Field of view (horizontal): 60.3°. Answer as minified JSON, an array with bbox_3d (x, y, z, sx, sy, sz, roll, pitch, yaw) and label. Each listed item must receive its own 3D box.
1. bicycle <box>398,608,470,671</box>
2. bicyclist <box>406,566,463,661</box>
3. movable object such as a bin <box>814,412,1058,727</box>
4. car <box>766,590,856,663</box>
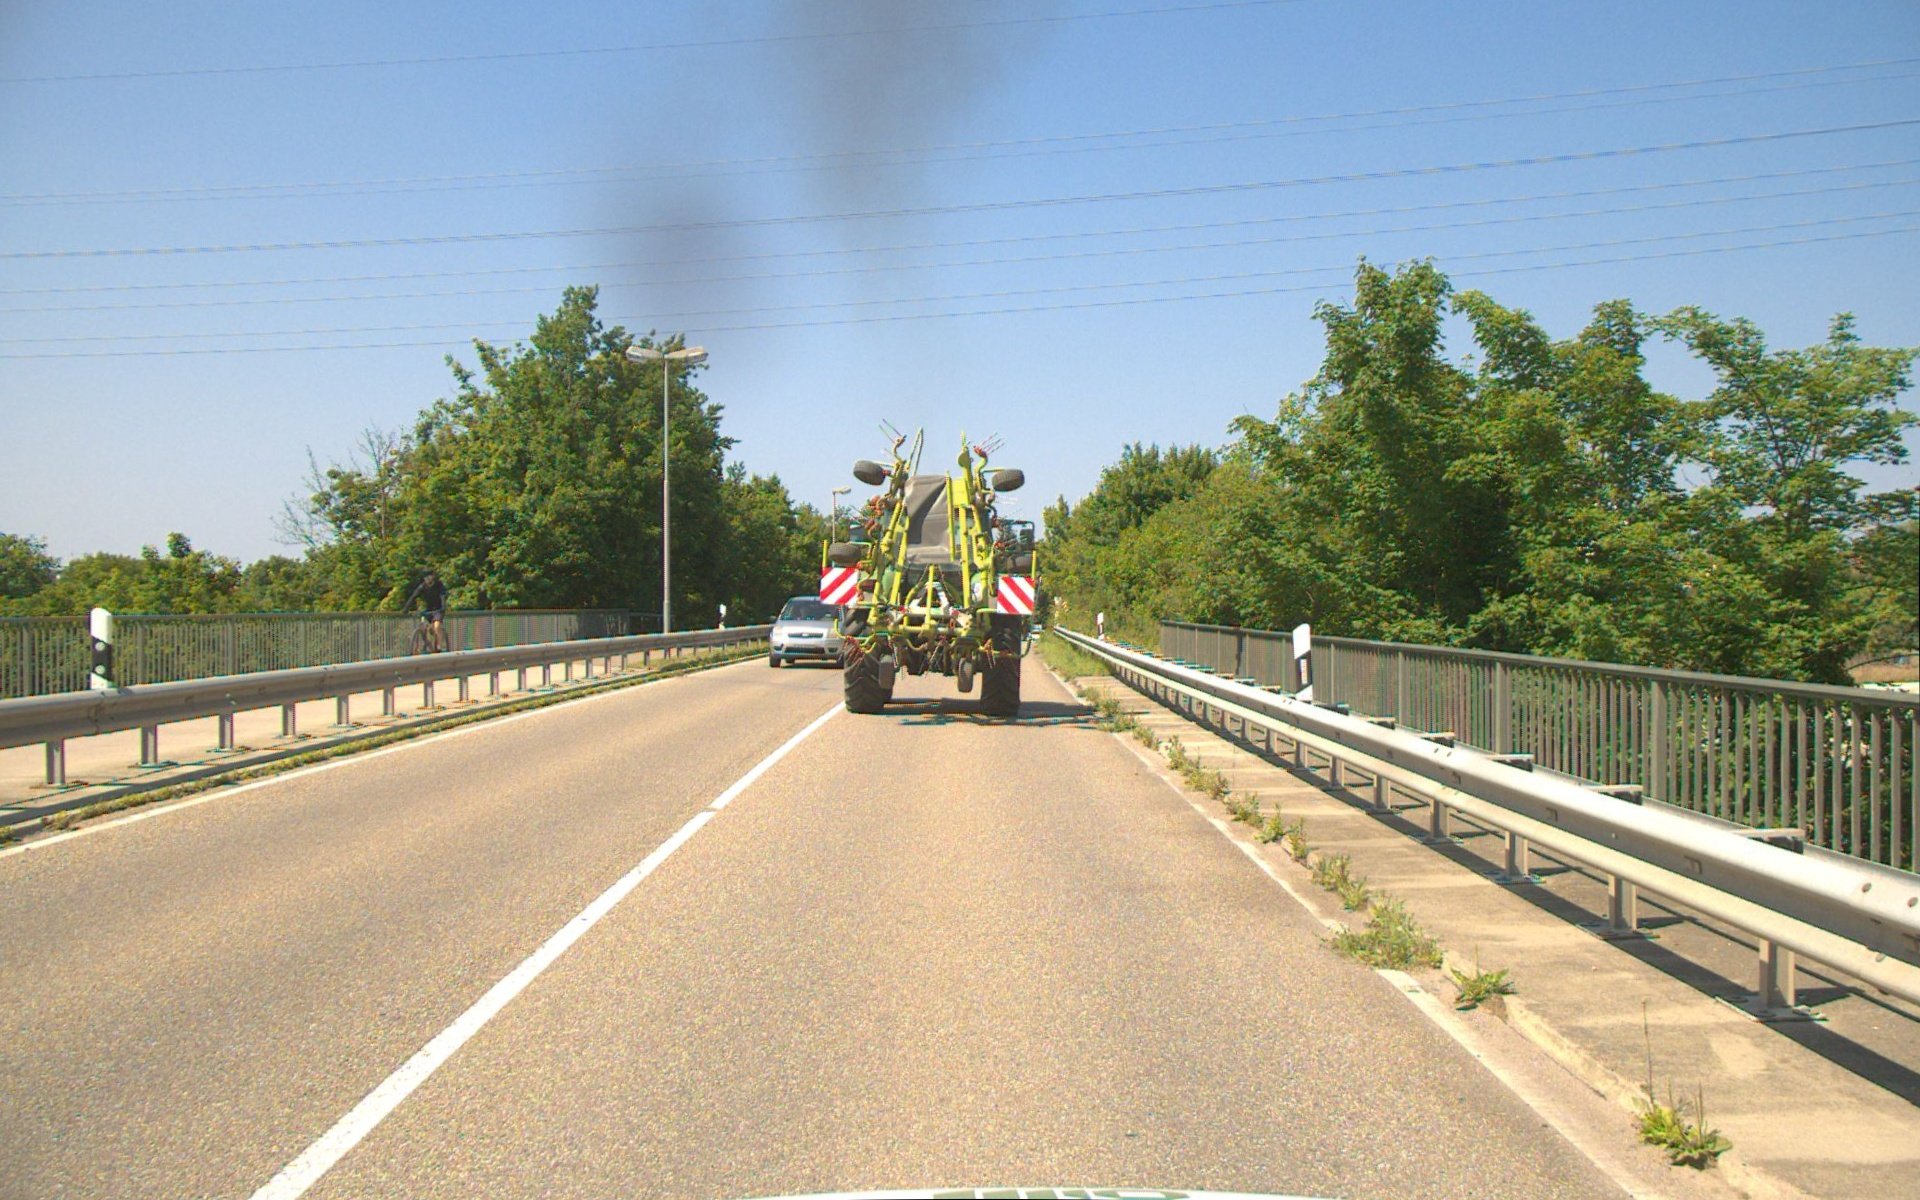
[{"bbox_3d":[-9.368,0.686,29.545,0.663,1.019,2.118,0,1,-2],"label":"bicycle"},{"bbox_3d":[-9.370,0.225,29.517,0.750,1.662,0.895,0,1,-2],"label":"bicyclist"},{"bbox_3d":[-0.338,-0.371,21.412,2.699,3.504,5.668,1,0,-2],"label":"movable object such as a bin"},{"bbox_3d":[-3.279,0.558,36.909,1.633,1.543,3.666,0,0,0],"label":"car"}]
